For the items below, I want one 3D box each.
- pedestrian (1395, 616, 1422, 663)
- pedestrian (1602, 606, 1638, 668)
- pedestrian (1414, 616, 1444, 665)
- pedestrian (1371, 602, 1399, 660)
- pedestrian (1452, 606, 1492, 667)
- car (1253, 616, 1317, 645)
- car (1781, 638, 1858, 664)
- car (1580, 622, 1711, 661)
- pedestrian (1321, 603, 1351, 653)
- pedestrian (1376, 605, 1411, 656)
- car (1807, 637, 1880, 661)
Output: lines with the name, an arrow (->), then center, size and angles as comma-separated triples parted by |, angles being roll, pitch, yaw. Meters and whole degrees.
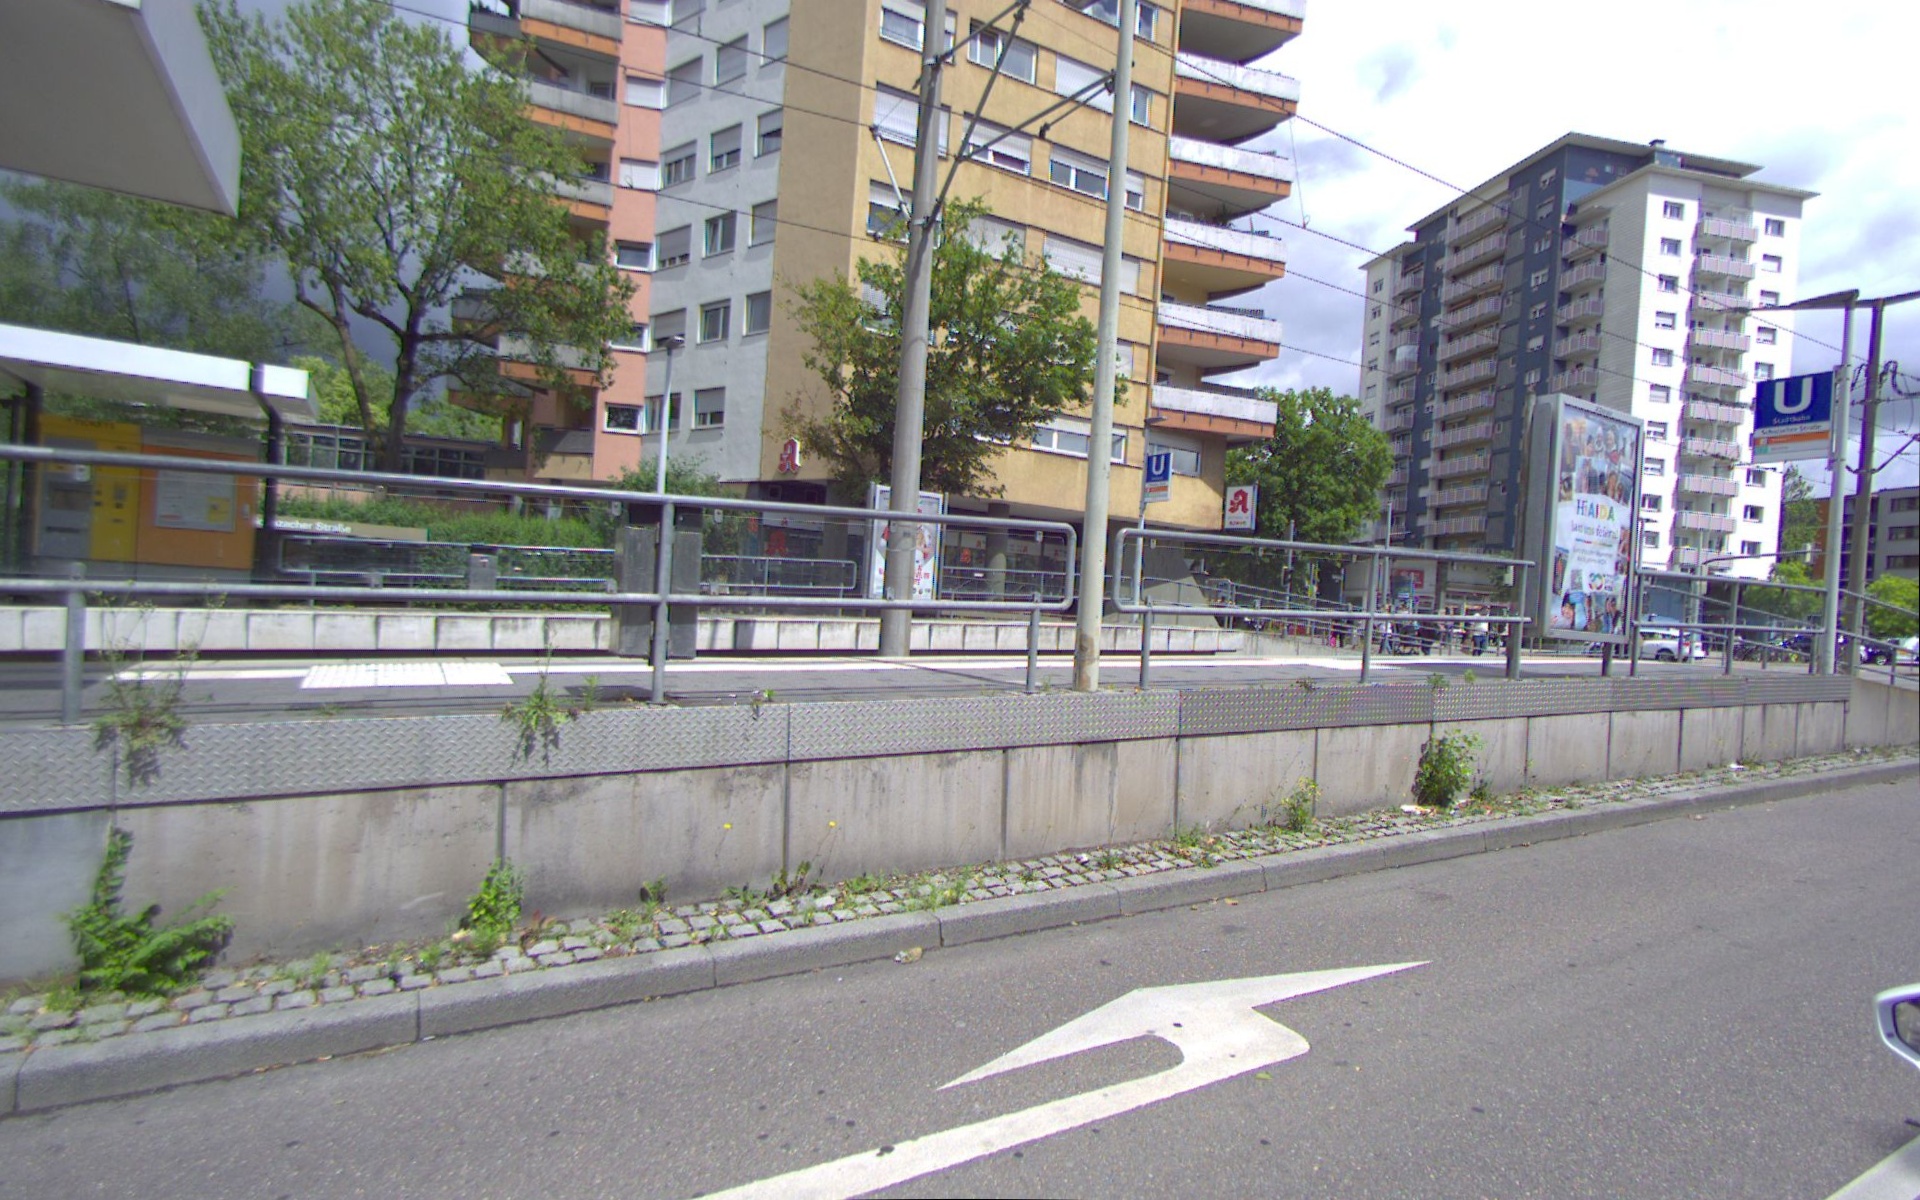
pedestrian -> 13.200, 1.153, 29.567 | 0.543, 1.360, 0.669 | 2, 0, 12
pedestrian -> 18.046, 1.013, 27.474 | 0.689, 1.654, 0.638 | 1, -1, 23
pedestrian -> 13.252, 1.134, 28.384 | 0.677, 1.360, 0.859 | 2, 0, 30
pedestrian -> 13.097, 0.937, 30.947 | 0.668, 1.729, 0.827 | 2, 0, 17
pedestrian -> 14.660, 1.036, 28.763 | 0.848, 1.719, 0.686 | 2, 0, 41
car -> 20.966, 1.957, 64.825 | 1.726, 1.702, 3.661 | 2, -1, -33
car -> 55.842, 3.273, 65.310 | 1.602, 1.482, 3.576 | 2, 0, -37
car -> 30.815, 1.827, 45.245 | 1.929, 1.546, 4.533 | 2, -1, -40
pedestrian -> 12.324, 0.913, 32.925 | 0.759, 1.604, 0.610 | 2, 0, 6
pedestrian -> 13.965, 0.971, 32.346 | 0.613, 1.599, 0.858 | 2, 0, -12
car -> 61.259, 3.404, 69.692 | 1.602, 1.482, 3.576 | 2, 0, -37
